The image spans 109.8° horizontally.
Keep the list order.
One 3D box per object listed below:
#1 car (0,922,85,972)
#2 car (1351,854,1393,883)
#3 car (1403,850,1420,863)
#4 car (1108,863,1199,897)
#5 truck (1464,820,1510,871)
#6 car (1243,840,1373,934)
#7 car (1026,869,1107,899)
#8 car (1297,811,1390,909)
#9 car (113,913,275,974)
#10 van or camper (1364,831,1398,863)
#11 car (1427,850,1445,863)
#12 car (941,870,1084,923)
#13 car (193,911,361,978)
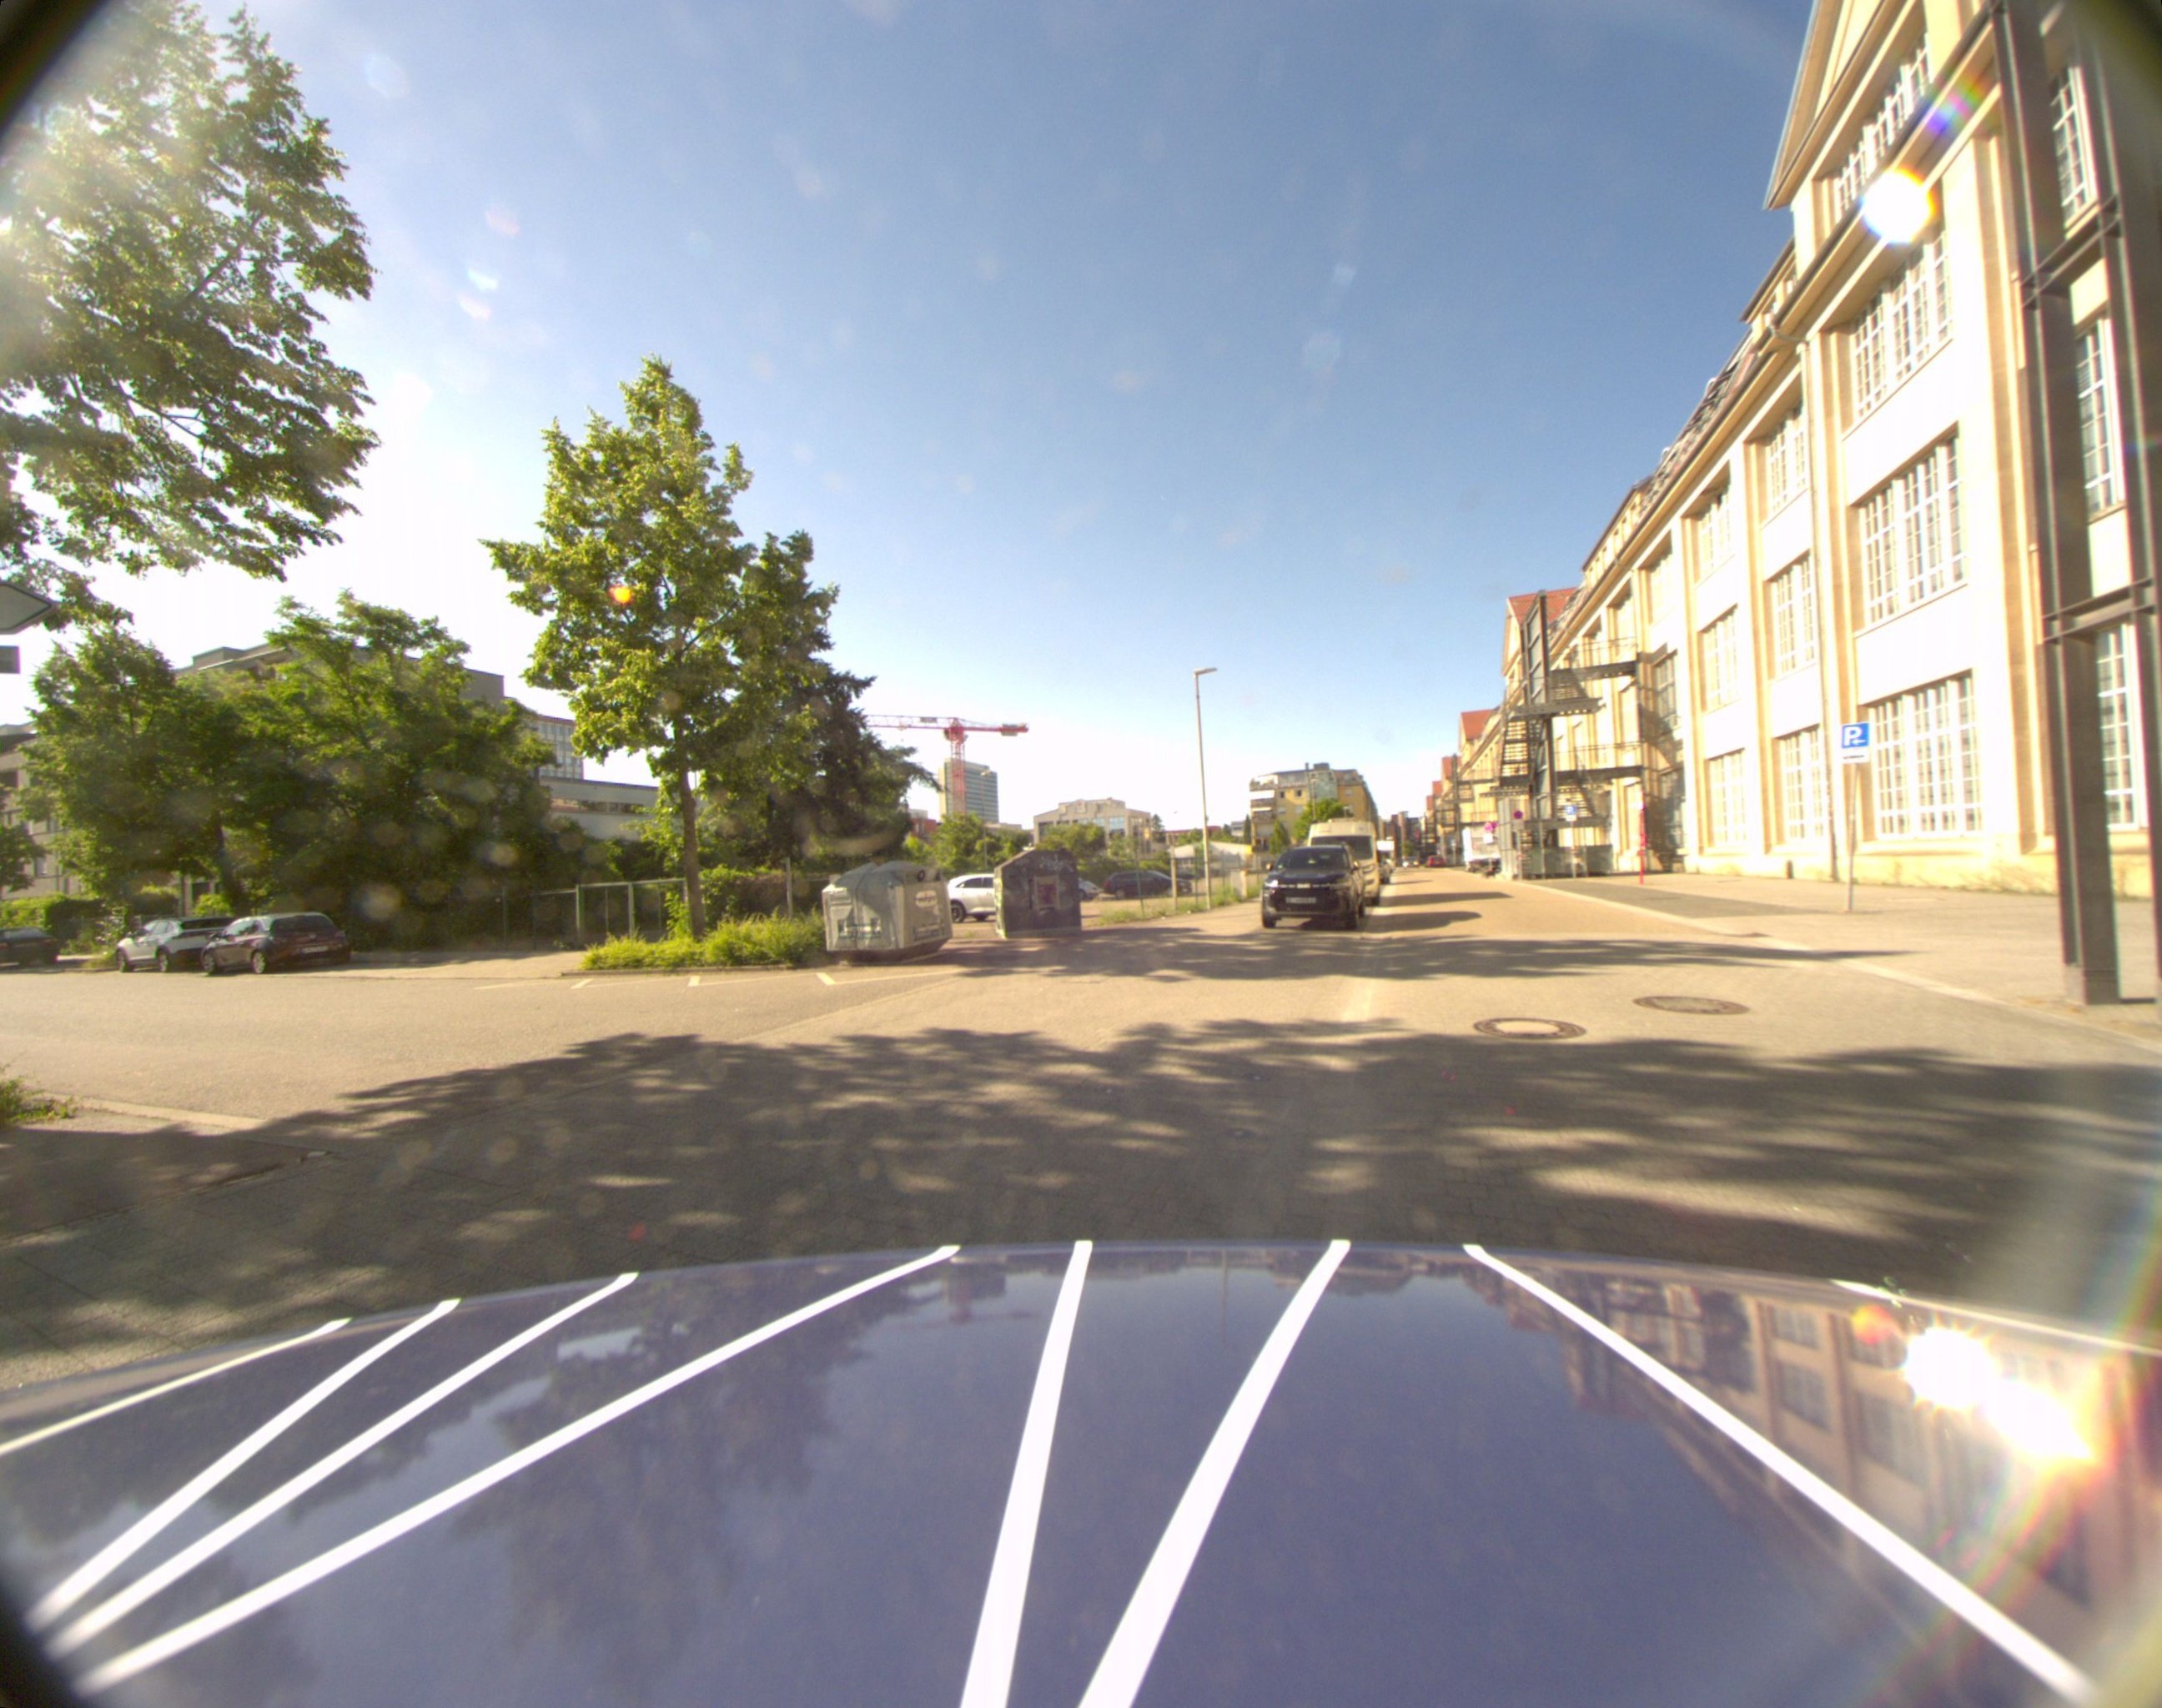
[{"bbox_3d":[-38.148,3.316,27.235,4.350,1.465,1.849,-3,1,23],"label":"car"},{"bbox_3d":[15.579,0.751,40.527,1.847,1.417,4.232,-3,-1,24],"label":"car"},{"bbox_3d":[39.999,0.327,92.008,1.847,1.417,4.232,-3,-1,24],"label":"car"},{"bbox_3d":[3.791,1.371,39.696,4.233,1.550,1.901,-3,-1,26],"label":"car"},{"bbox_3d":[29.905,-0.603,56.187,2.495,3.411,7.139,-2,0,25],"label":"truck"},{"bbox_3d":[4.883,0.635,15.923,1.995,1.685,4.110,-3,-1,25],"label":"car"},{"bbox_3d":[-0.849,1.751,44.312,4.233,1.550,1.901,-3,-1,23],"label":"car"},{"bbox_3d":[8.295,0.153,23.583,2.160,2.581,6.293,-3,0,24],"label":"car"},{"bbox_3d":[-25.873,2.593,22.174,3.993,1.465,1.849,-3,1,23],"label":"car"},{"bbox_3d":[27.992,-0.637,70.922,2.718,2.840,5.142,-2,0,22],"label":"van or camper"},{"bbox_3d":[41.346,0.251,88.418,1.757,1.440,4.007,-3,-1,25],"label":"car"},{"bbox_3d":[-2.361,1.464,26.071,4.416,1.600,2.004,-3,-1,26],"label":"car"},{"bbox_3d":[-21.131,2.353,19.997,3.539,1.465,1.725,-3,1,21],"label":"car"}]
